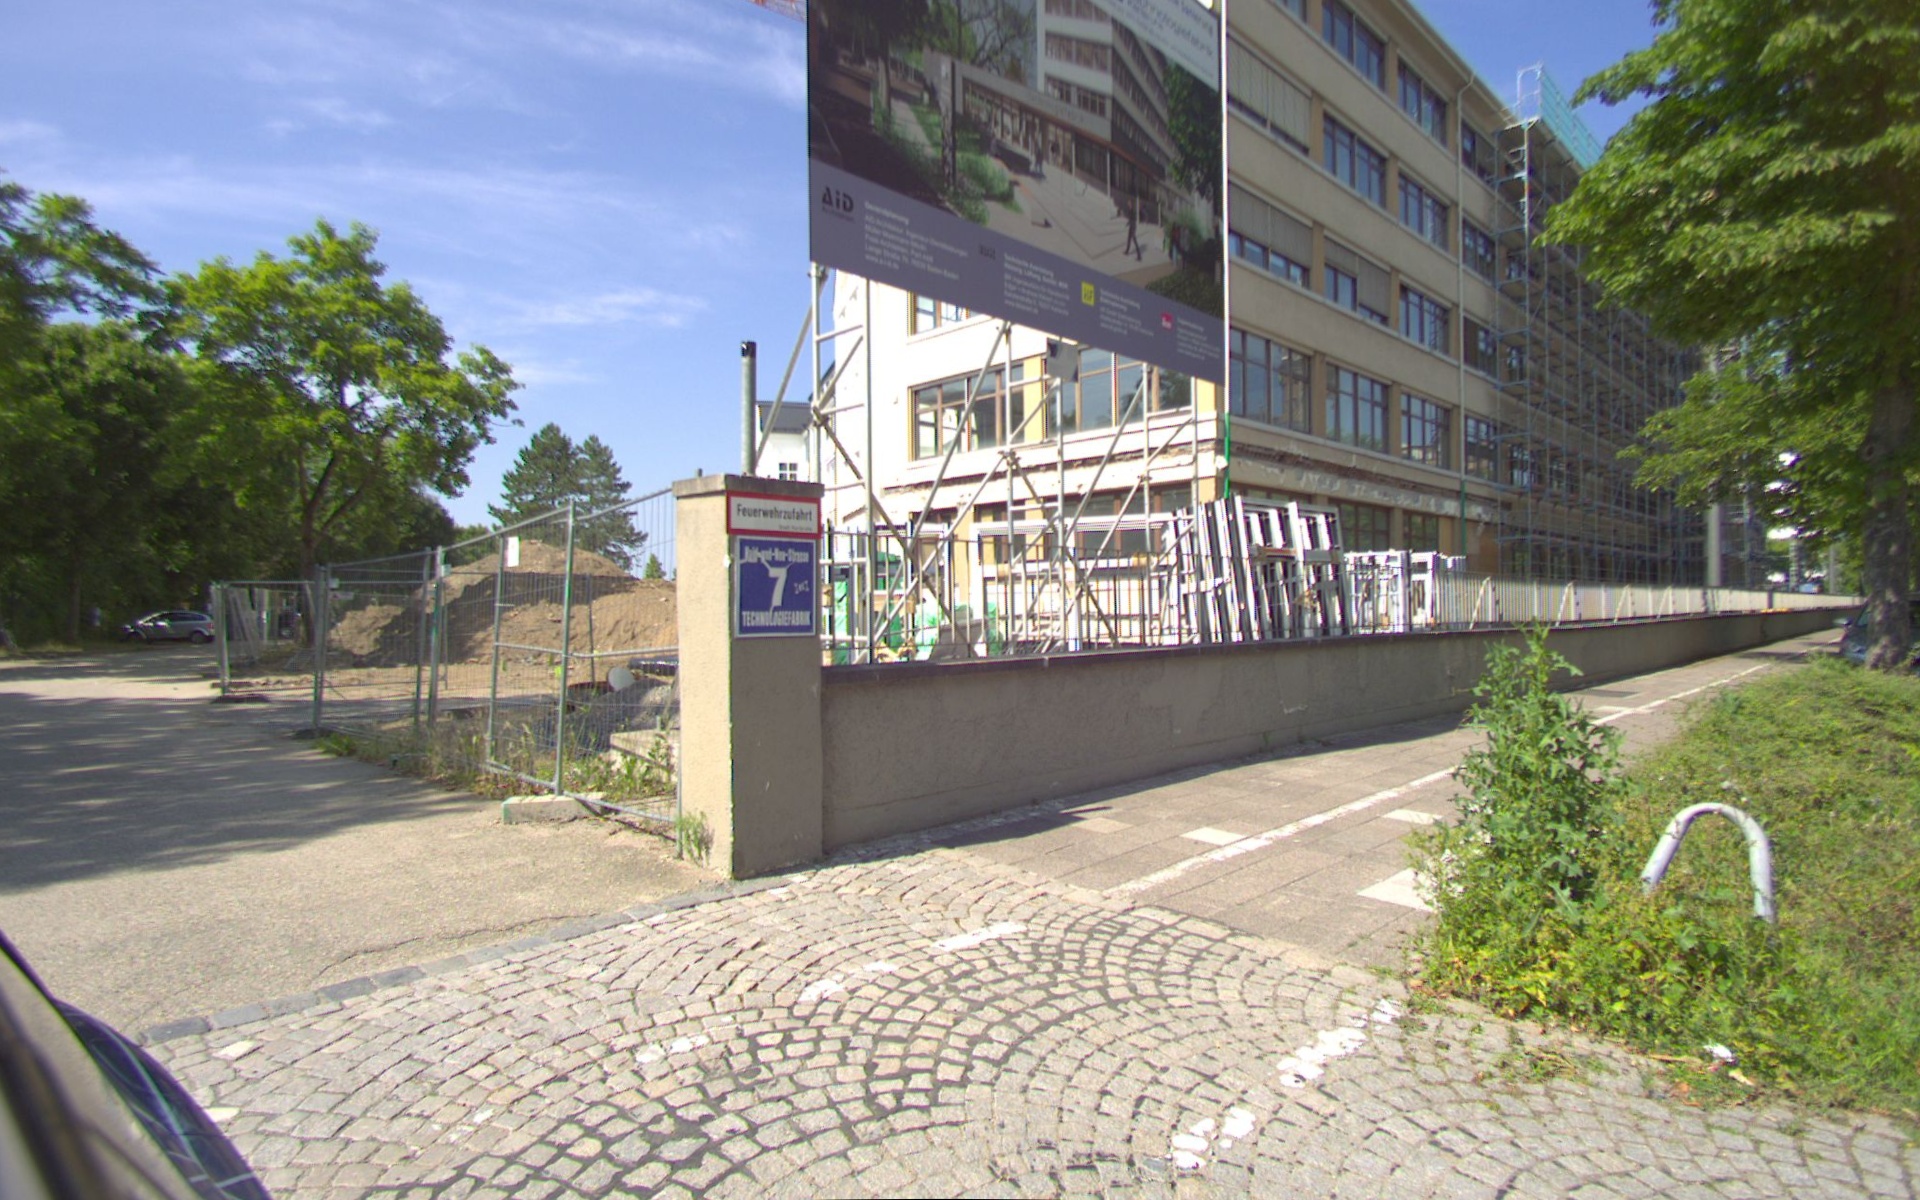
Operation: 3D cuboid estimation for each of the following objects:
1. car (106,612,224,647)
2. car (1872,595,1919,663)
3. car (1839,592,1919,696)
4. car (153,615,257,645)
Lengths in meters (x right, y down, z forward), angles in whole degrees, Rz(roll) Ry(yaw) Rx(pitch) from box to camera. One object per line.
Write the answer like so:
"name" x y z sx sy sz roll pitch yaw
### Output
"car" -36.759 1.337 46.894 3.930 1.519 2.007 0 0 -24
"car" 22.145 0.617 23.093 1.822 1.464 3.942 -1 -1 44
"car" 15.405 0.641 16.177 1.822 1.506 4.048 -1 -1 44
"car" -38.708 1.534 52.018 3.930 1.453 2.007 0 -1 -24
